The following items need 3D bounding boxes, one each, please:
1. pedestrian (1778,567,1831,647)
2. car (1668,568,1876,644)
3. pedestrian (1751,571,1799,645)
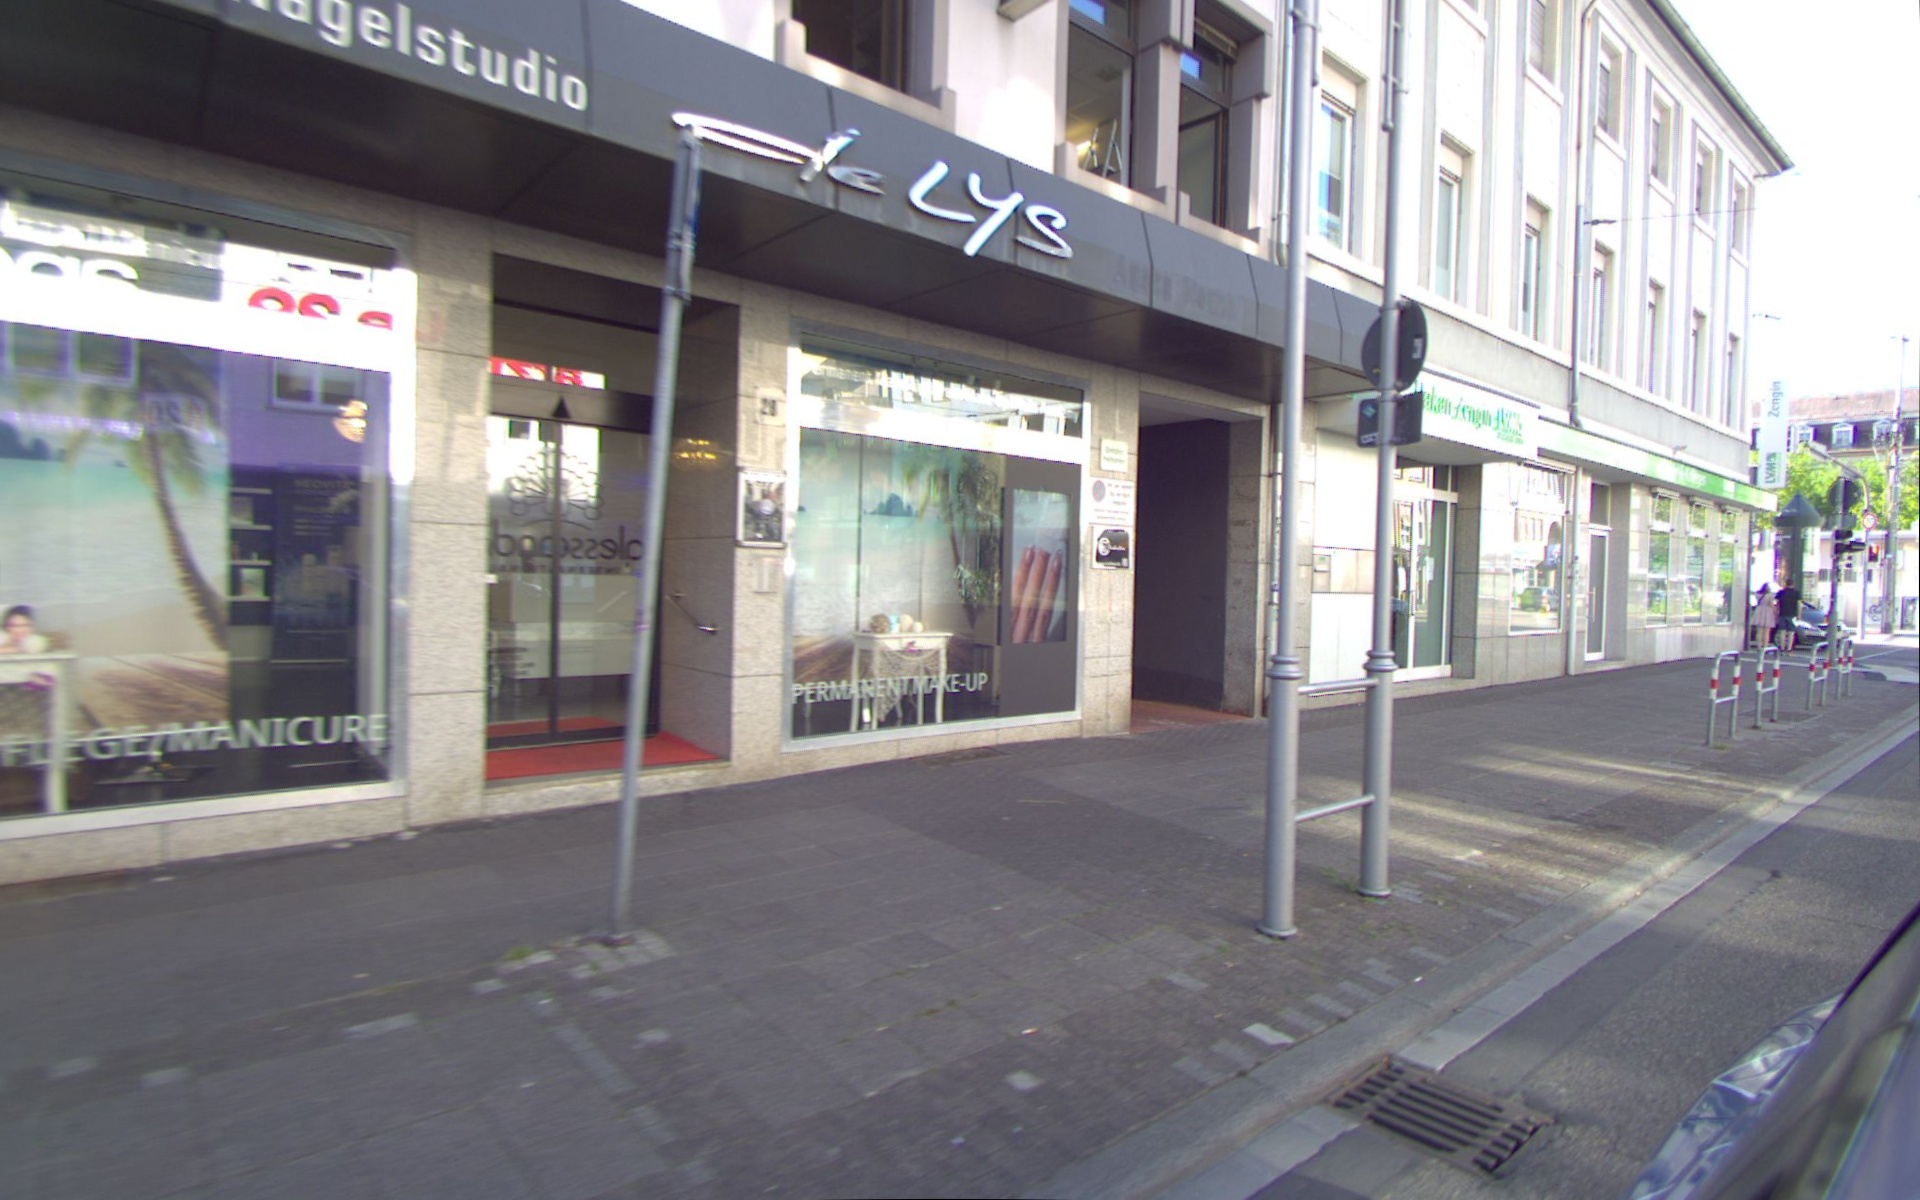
[{"bbox_3d":[20.202,0.163,24.207,0.628,1.865,0.683,1,1,-17],"label":"pedestrian"},{"bbox_3d":[22.464,0.082,28.183,1.872,1.893,4.106,-1,2,-24],"label":"car"},{"bbox_3d":[19.870,0.190,24.679,0.562,1.781,0.651,0,1,-17],"label":"pedestrian"}]
